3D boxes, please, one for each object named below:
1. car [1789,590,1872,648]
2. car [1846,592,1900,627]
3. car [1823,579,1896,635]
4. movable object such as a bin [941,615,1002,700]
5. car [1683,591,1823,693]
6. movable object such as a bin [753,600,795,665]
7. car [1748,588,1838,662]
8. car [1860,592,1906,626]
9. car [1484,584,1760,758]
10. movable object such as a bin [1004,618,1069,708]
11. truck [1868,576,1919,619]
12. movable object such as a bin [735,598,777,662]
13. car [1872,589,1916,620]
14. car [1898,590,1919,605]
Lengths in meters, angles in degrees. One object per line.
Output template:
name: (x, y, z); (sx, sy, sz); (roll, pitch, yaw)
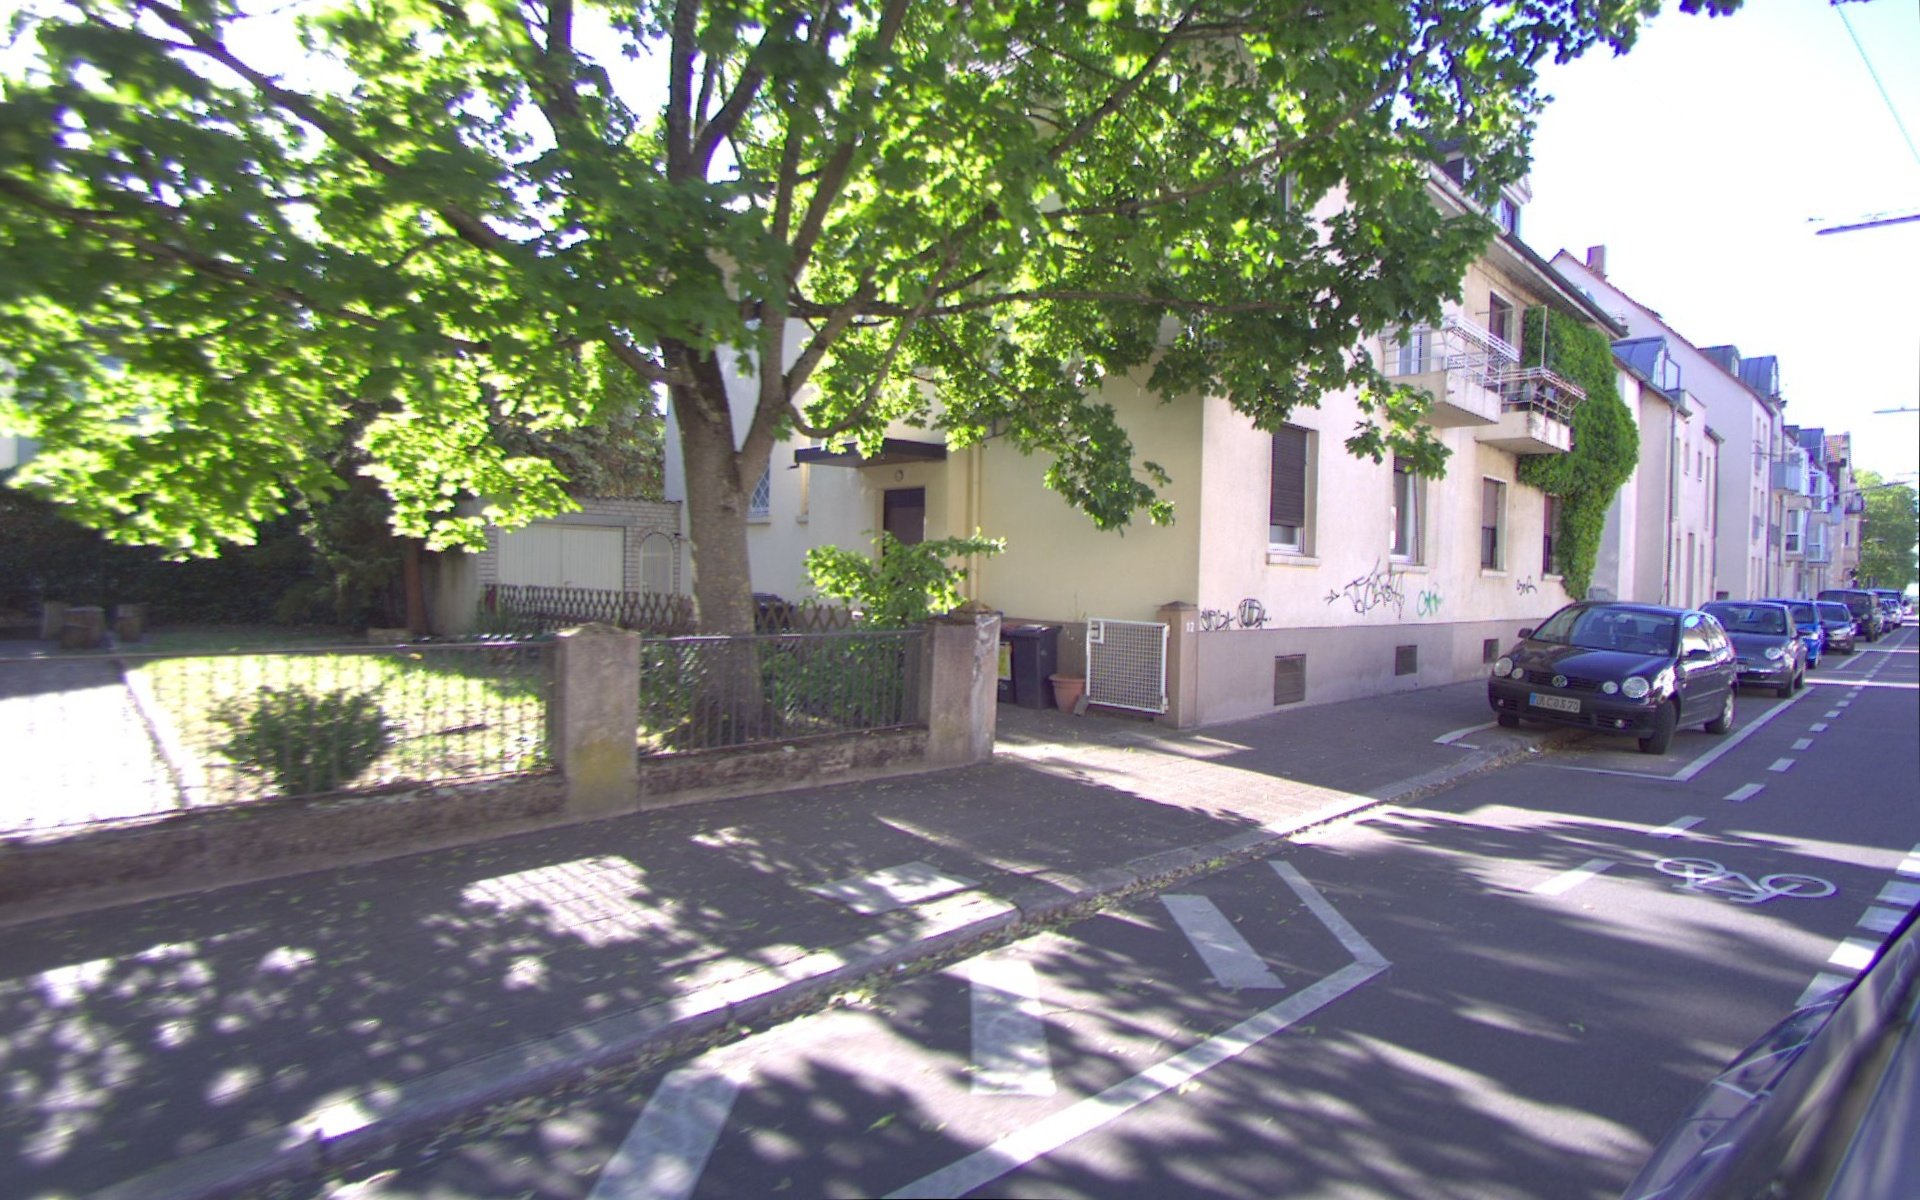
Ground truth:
car: (26.071, 0.511, 30.264); (1.744, 1.619, 4.365); (0, 0, 43)
car: (40.898, 0.391, 45.316); (1.677, 1.510, 4.106); (0, 0, 44)
car: (34.260, 0.238, 38.514); (1.906, 2.012, 4.490); (0, 0, 44)
movable object such as a bin: (0.137, 0.674, 12.103); (0.490, 0.959, 0.529); (1, 1, -41)
car: (13.534, 0.630, 17.204); (1.601, 1.544, 3.494); (0, 0, 43)
movable object such as a bin: (-2.807, 0.473, 15.257); (0.429, 0.943, 0.449); (1, 1, -41)
car: (19.617, 0.531, 23.791); (1.457, 1.619, 3.243); (0, 0, 43)
car: (44.424, 0.408, 48.693); (1.554, 1.577, 3.594); (0, 0, 44)
car: (7.474, 0.634, 11.303); (3.706, 1.583, 1.668); (-1, 2, -42)
movable object such as a bin: (0.864, 0.700, 11.464); (0.490, 0.959, 0.529); (1, 2, -41)
truck: (58.712, -0.168, 63.440); (2.297, 2.508, 6.046); (3, 2, 45)
movable object such as a bin: (-3.155, 0.455, 15.659); (0.429, 0.943, 0.516); (1, 1, -41)
car: (54.504, 0.243, 59.008); (1.740, 1.768, 4.186); (0, 0, 45)
car: (104.258, -0.271, 110.868); (3.968, 1.567, 1.980); (1, 1, -45)
